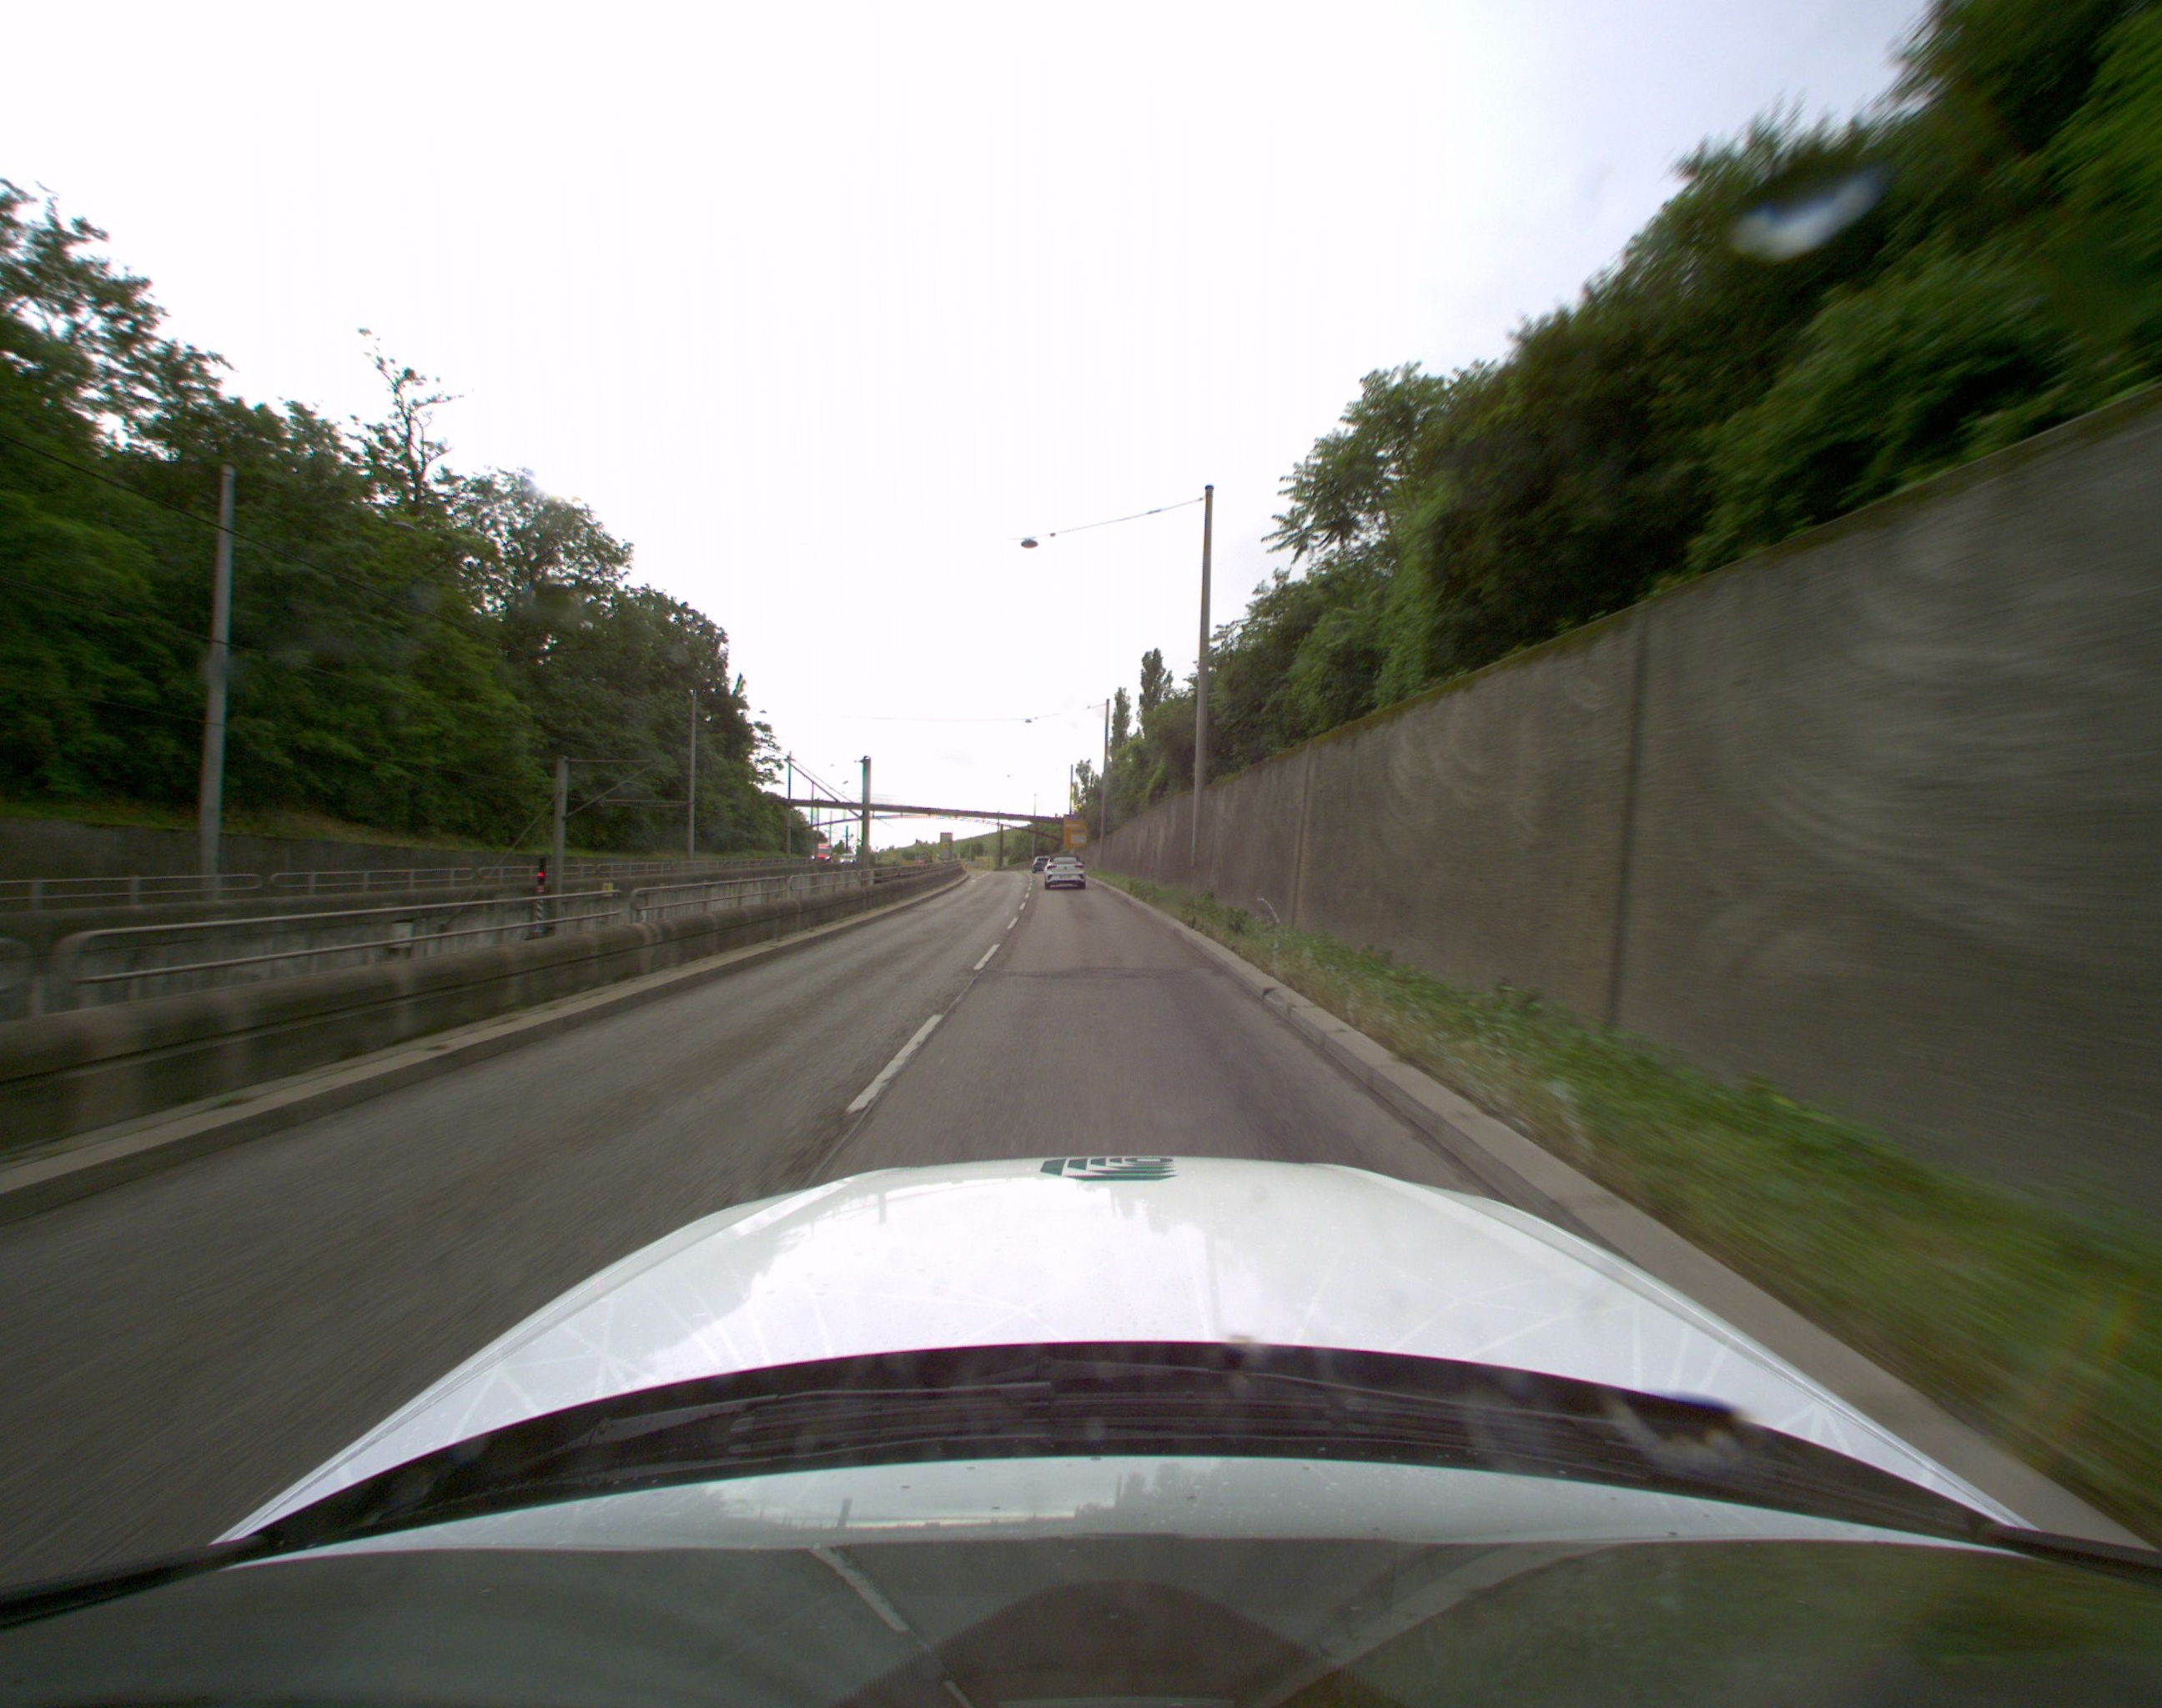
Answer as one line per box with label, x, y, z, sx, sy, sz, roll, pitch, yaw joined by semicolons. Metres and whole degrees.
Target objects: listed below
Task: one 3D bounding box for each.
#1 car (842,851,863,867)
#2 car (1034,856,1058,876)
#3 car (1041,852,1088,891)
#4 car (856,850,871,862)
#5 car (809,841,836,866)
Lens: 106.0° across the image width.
car;-25.701;0.521;91.615;1.818;1.704;4.097;-1;0;-10
car;-3.011;1.004;71.409;1.920;1.599;4.061;-2;0;0
car;-0.790;0.748;36.793;1.991;1.578;4.121;-2;0;-3
car;-33.694;0.298;126.410;1.962;1.750;4.125;-1;0;-11
car;-30.411;-0.043;96.039;2.182;2.734;6.323;-1;0;-10
